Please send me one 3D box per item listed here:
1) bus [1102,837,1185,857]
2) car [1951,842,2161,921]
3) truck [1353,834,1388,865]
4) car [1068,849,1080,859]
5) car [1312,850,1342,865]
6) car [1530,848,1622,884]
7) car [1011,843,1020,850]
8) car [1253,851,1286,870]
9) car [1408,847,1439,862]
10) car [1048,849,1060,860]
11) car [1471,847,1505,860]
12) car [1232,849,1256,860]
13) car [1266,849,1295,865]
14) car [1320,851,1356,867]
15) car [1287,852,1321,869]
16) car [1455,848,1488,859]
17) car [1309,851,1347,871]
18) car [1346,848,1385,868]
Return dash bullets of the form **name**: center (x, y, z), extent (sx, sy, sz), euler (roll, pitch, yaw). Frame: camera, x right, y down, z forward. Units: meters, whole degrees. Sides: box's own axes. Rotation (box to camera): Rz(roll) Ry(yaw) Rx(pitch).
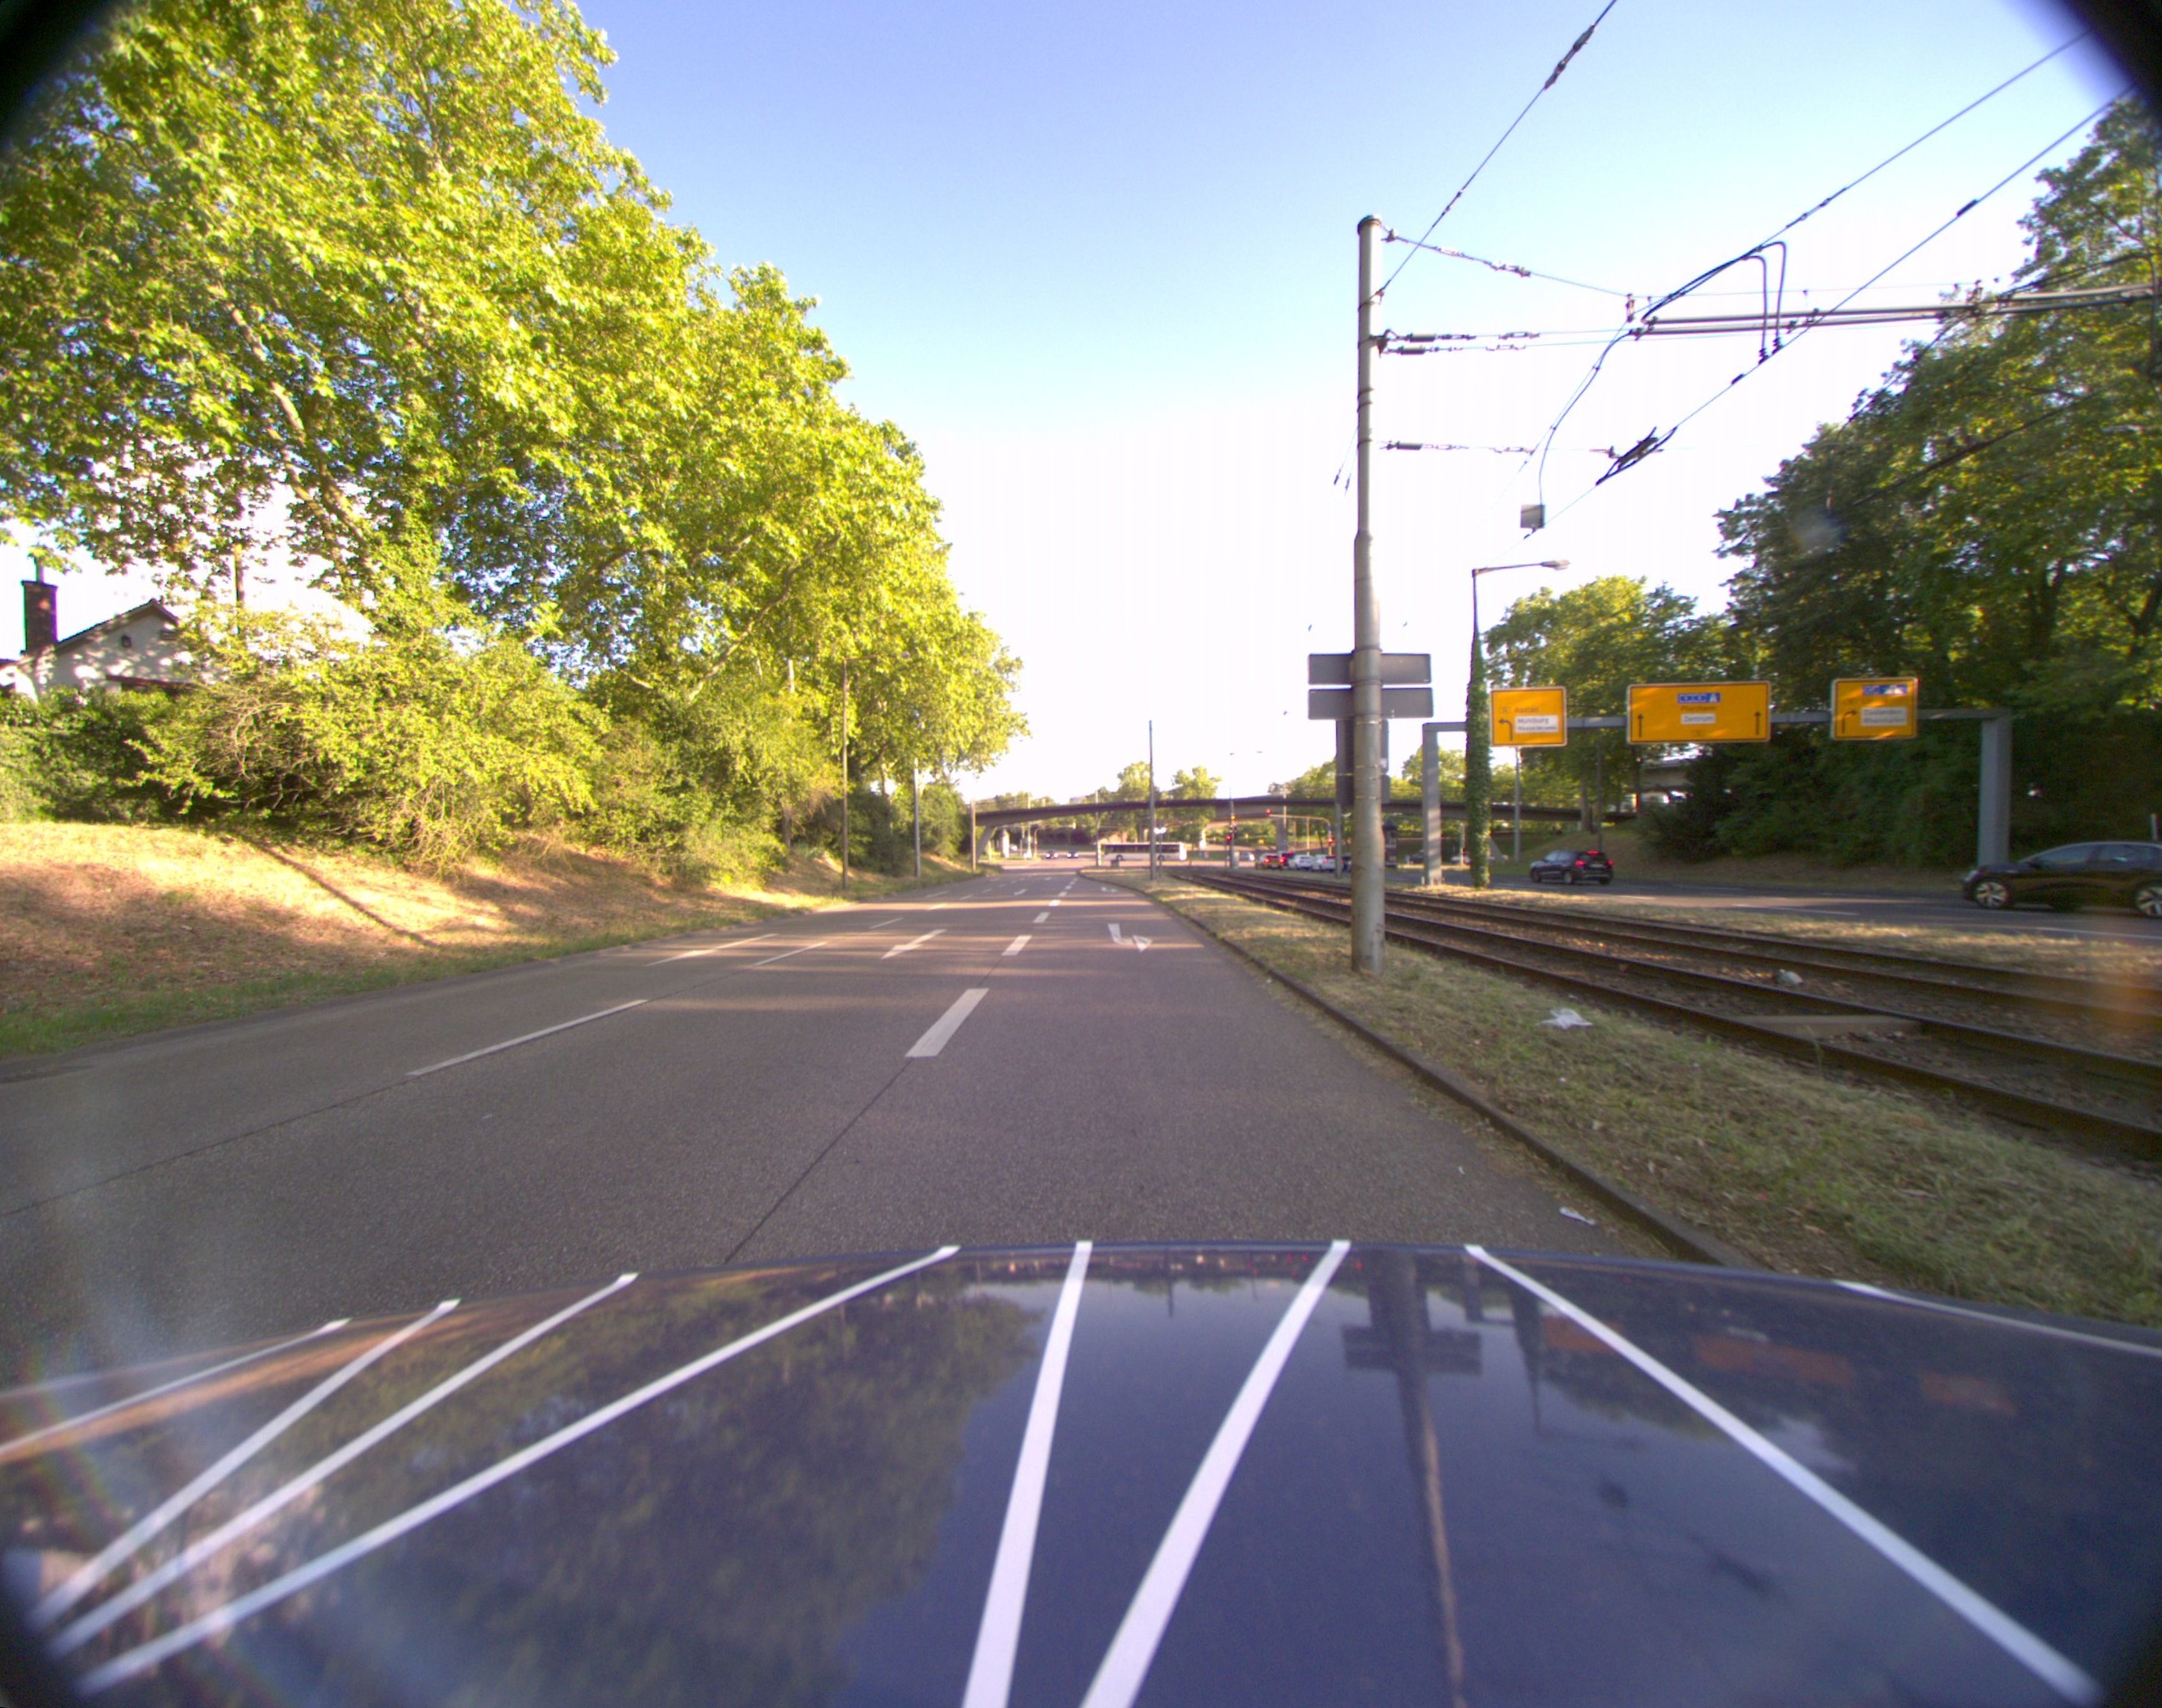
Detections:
- **bus**: center (9.989, -1.102, 122.596), extent (13.164, 2.846, 2.420), euler (-2, 1, 20)
- **car**: center (21.906, 0.527, 16.213), extent (1.735, 1.536, 4.334), euler (-1, 0, 1)
- **truck**: center (28.382, -0.442, 74.787), extent (2.281, 2.862, 6.886), euler (-1, 0, 13)
- **car**: center (-1.256, 0.013, 141.867), extent (1.905, 1.726, 3.998), euler (-2, 0, -5)
- **car**: center (24.948, 0.368, 77.156), extent (1.917, 1.416, 4.228), euler (-1, 0, 5)
- **car**: center (22.328, 0.525, 34.458), extent (1.755, 1.548, 3.974), euler (0, 0, 3)
- **car**: center (-17.618, -2.005, 202.893), extent (1.685, 1.779, 3.866), euler (-2, 0, -15)
- **car**: center (16.147, 0.502, 65.224), extent (1.767, 1.535, 4.000), euler (-1, 0, 0)
- **car**: center (46.981, 0.027, 104.274), extent (3.805, 1.848, 1.679), euler (-2, 1, 20)
- **car**: center (-4.900, 0.067, 139.191), extent (1.960, 1.779, 3.998), euler (-2, 0, -5)
- **car**: center (54.111, -0.037, 101.088), extent (3.804, 1.570, 1.679), euler (-2, 1, 24)
- **car**: center (25.193, 0.131, 117.306), extent (3.364, 1.560, 1.613), euler (-2, 0, 17)
- **car**: center (19.581, 0.260, 74.729), extent (1.917, 1.540, 4.227), euler (-1, 0, 4)
- **car**: center (23.737, 0.471, 70.197), extent (1.868, 1.416, 4.226), euler (-1, 0, 0)
- **car**: center (19.915, 0.525, 68.072), extent (1.918, 1.416, 4.227), euler (-1, 0, 2)
- **car**: center (54.207, -0.049, 105.525), extent (3.868, 1.403, 1.814), euler (-2, 1, 20)
- **car**: center (20.027, 0.538, 61.793), extent (1.767, 1.535, 4.000), euler (-1, 0, 0)
- **car**: center (23.964, 0.324, 64.059), extent (1.813, 1.535, 4.000), euler (-1, 0, 1)
